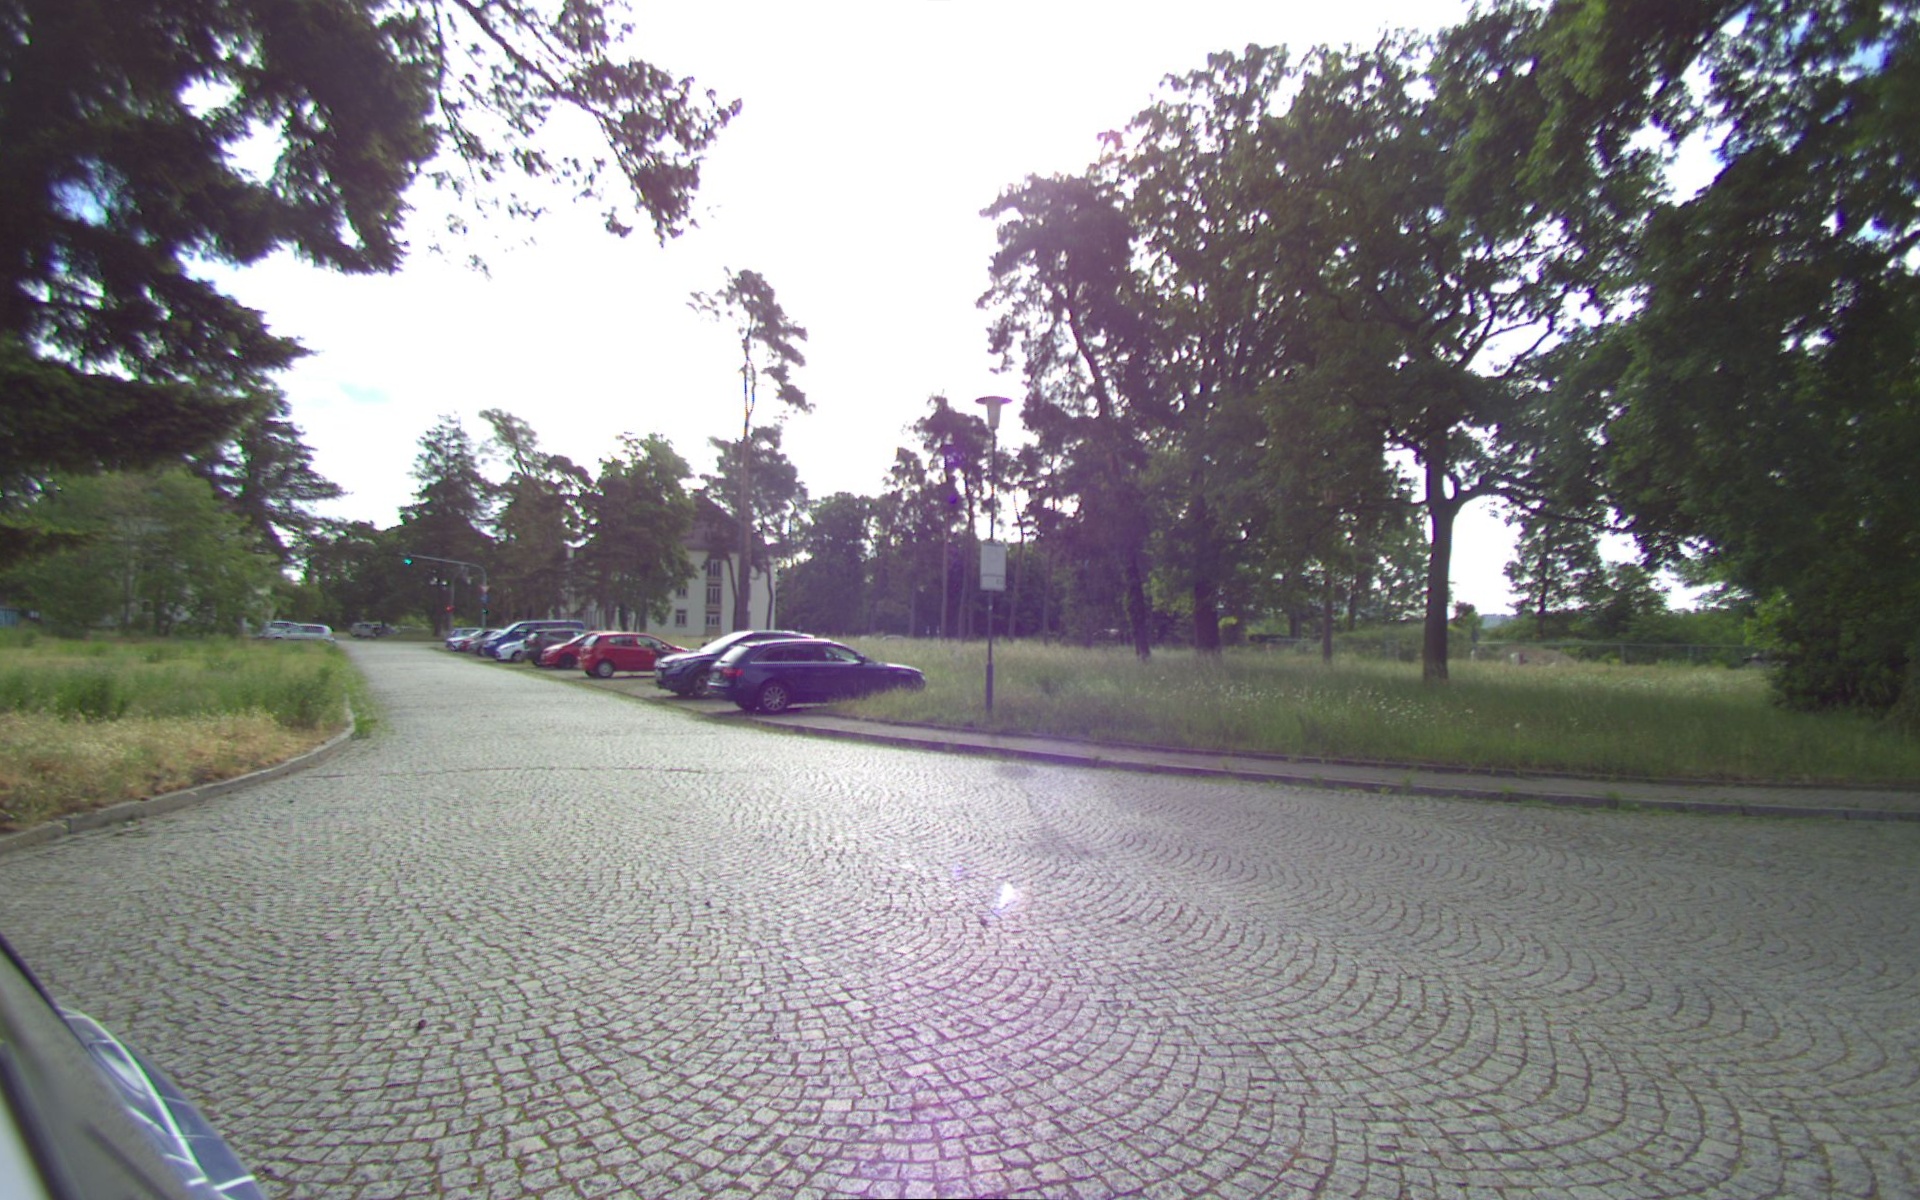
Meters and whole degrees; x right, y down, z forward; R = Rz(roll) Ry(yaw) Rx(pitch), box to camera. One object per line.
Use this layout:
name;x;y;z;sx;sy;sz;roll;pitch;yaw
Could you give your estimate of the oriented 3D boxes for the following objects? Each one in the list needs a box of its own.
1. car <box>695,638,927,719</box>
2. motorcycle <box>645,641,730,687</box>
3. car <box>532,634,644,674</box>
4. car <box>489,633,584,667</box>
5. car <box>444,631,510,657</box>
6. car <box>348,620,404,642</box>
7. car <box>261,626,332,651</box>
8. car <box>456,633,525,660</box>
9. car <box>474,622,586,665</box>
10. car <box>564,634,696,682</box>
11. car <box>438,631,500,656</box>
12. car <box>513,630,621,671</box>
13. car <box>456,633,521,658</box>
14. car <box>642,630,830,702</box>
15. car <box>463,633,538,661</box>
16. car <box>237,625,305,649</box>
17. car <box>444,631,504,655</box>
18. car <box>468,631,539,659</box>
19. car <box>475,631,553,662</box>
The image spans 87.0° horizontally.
car;-3.015;1.541;20.697;4.369;1.491;1.687;1;-2;-29
motorcycle;-8.100;1.883;30.109;2.323;1.298;0.746;2;-3;-32
car;-14.750;2.137;40.213;3.887;1.532;1.712;2;-3;-32
car;-19.959;2.327;47.692;3.867;1.403;1.747;-1;0;-34
car;-31.148;2.818;65.312;3.517;1.499;1.605;-1;0;-40
car;-72.297;3.822;125.344;5.705;2.582;2.776;-1;0;-38
car;-41.886;2.402;63.937;3.670;1.448;1.630;0;0;-36
car;-28.552;2.790;61.627;3.517;1.427;1.641;-1;0;-39
car;-21.194;2.121;49.981;4.755;1.880;2.167;-1;0;-34
car;-10.911;1.890;33.515;3.831;1.490;1.676;1;-2;-33
car;-32.824;2.877;67.648;3.514;1.469;1.631;-1;0;-35
car;-16.437;2.126;42.367;3.853;1.616;1.825;3;-3;-35
car;-29.691;2.836;63.769;3.591;1.358;1.626;-1;0;-28
car;-5.439;1.565;24.744;4.082;1.585;1.795;2;-1;-33
car;-25.772;2.604;56.792;3.543;1.431;1.621;0;-1;-39
car;-46.033;2.440;67.642;3.673;1.448;1.629;0;0;-40
car;-33.755;2.959;70.328;3.402;1.443;1.630;-1;0;-42
car;-26.803;2.627;59.458;3.517;1.445;1.609;-1;0;-39
car;-24.081;2.506;54.727;3.543;1.465;1.691;-1;0;-39
